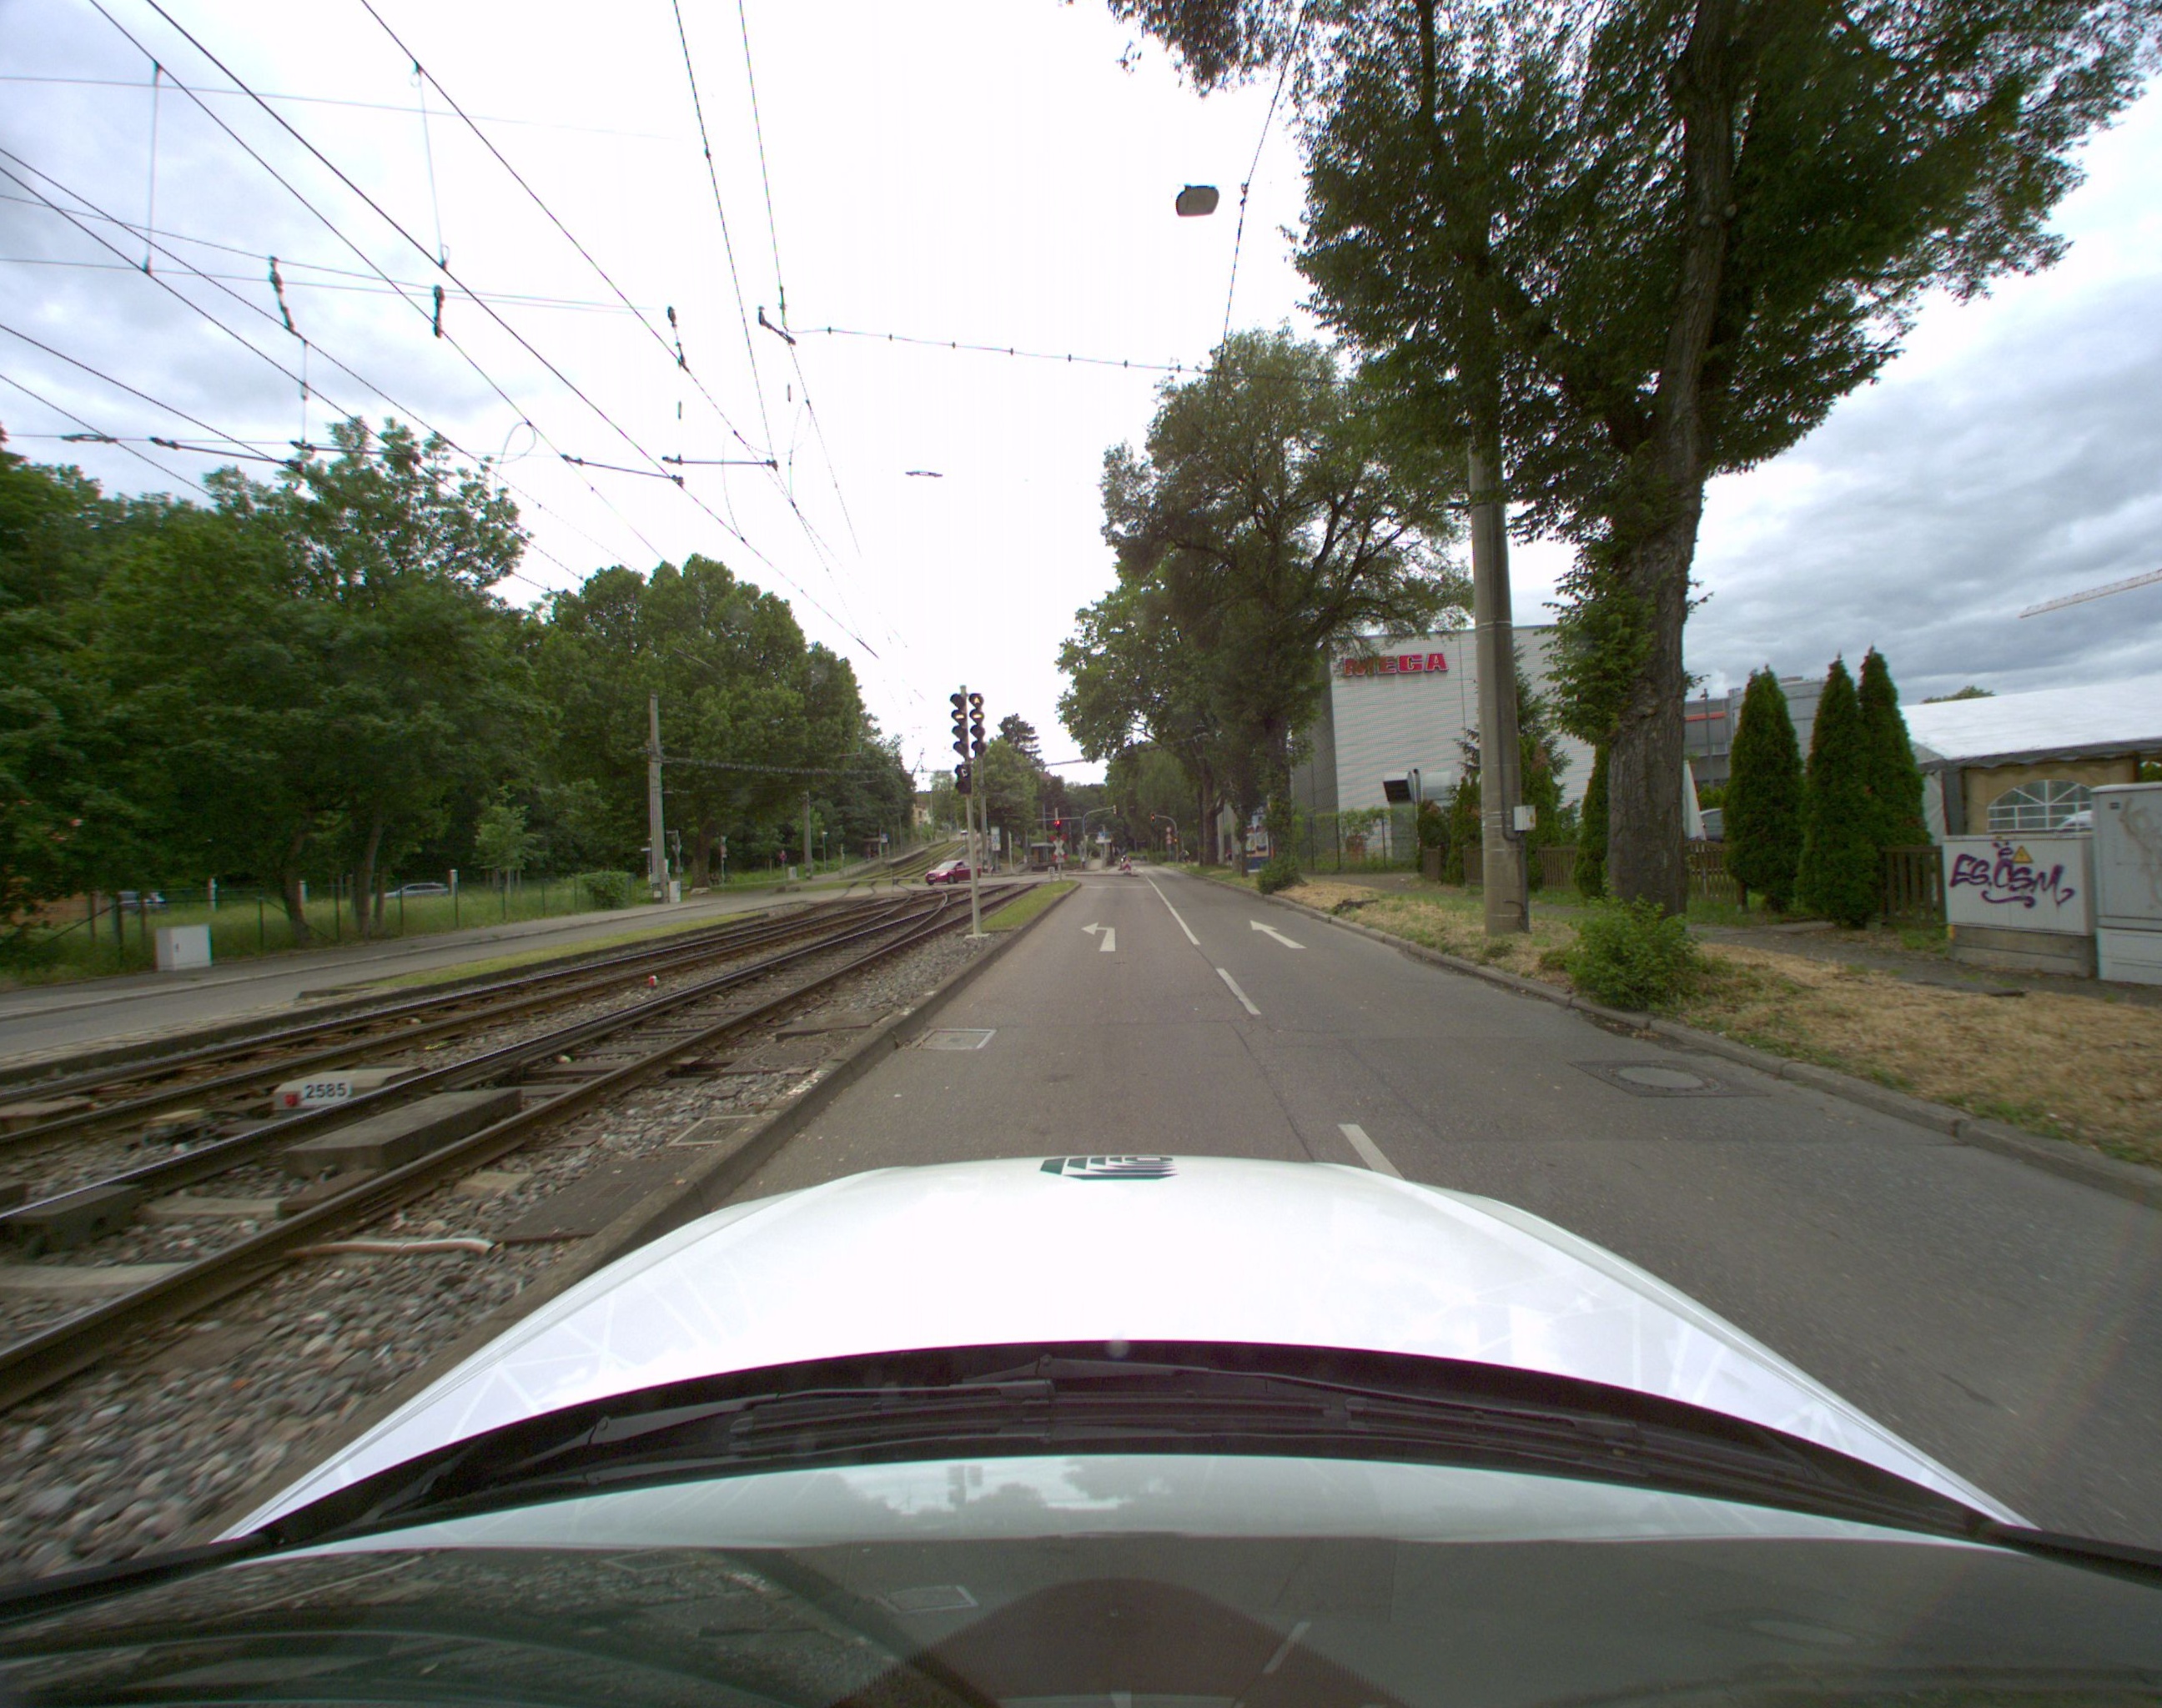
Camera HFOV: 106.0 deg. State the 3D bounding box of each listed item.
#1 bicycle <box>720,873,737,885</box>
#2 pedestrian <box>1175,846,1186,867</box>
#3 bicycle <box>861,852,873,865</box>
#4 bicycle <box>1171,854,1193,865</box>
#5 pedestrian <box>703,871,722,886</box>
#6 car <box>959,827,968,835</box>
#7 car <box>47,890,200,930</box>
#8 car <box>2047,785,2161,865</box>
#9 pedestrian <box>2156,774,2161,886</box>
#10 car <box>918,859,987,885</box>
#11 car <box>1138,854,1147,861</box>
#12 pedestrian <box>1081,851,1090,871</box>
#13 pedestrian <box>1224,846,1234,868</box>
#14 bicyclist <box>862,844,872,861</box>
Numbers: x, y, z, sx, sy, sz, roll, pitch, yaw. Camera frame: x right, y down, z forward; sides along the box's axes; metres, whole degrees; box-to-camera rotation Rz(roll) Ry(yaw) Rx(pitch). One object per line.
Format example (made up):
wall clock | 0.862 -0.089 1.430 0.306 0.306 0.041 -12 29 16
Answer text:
bicycle | -30.196 2.183 69.827 1.632 1.012 0.680 -2 -2 40
pedestrian | 9.903 0.243 80.878 0.925 2.013 0.670 -3 -1 10
bicycle | -24.735 0.496 94.288 0.823 1.343 2.991 -3 3 -5
bicycle | 10.017 0.523 80.862 2.062 1.007 0.670 -3 -1 9
pedestrian | -31.151 2.083 68.852 1.102 1.268 1.063 -2 -2 41
car | -32.660 -6.382 226.296 1.988 2.013 3.998 -3 0 -1
car | -46.292 2.688 39.490 1.975 1.582 4.430 -3 0 27
car | 25.769 -0.719 18.926 1.984 1.838 4.006 -3 0 5
pedestrian | 14.466 -0.322 10.391 0.696 1.490 0.775 -3 0 39
car | -8.297 1.131 52.909 1.974 1.515 4.529 -2 0 31
car | 16.886 0.873 224.909 1.988 1.815 3.998 -3 0 -1
pedestrian | 0.420 0.635 77.462 0.766 1.852 0.910 -3 -1 0
pedestrian | 10.753 0.224 59.239 0.662 1.553 0.936 -3 -1 9
bicyclist | -24.759 -0.159 94.128 0.820 1.848 1.050 -3 2 -5
